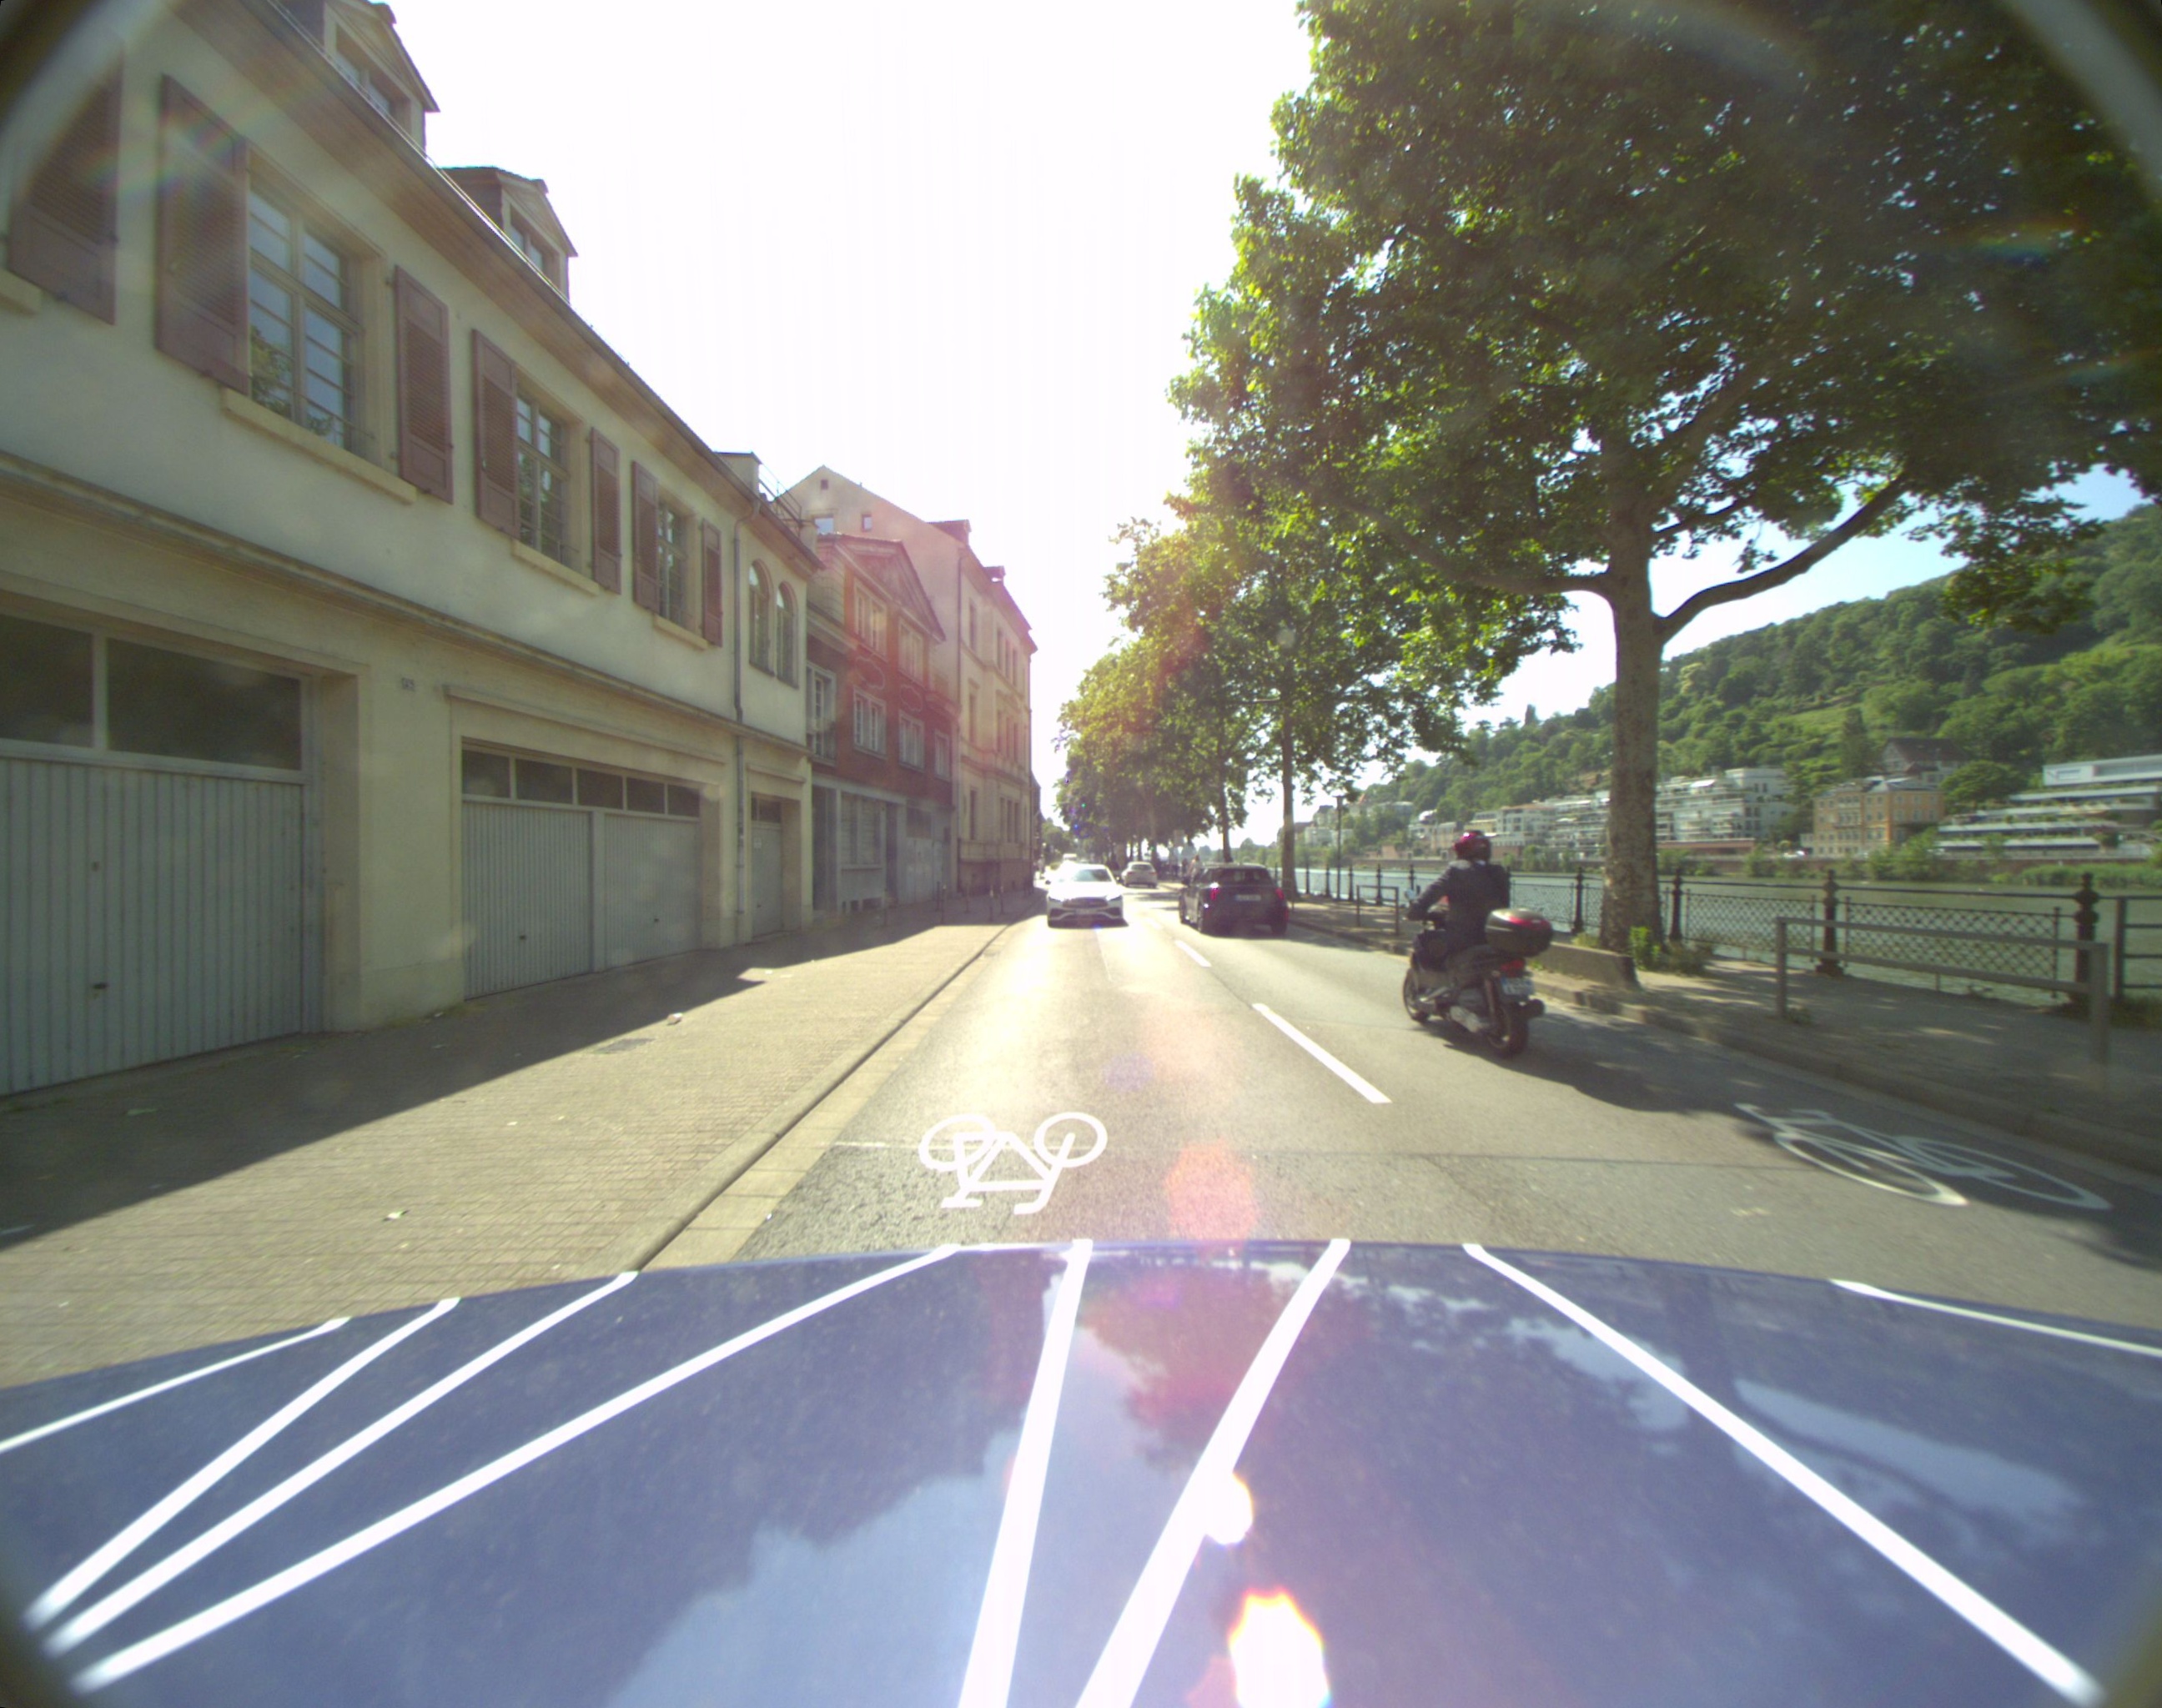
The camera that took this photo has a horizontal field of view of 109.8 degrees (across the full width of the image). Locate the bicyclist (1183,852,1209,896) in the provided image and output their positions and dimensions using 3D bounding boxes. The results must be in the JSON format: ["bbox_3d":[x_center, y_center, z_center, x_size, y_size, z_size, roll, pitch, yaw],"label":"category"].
[{"bbox_3d":[4.108,0.717,27.113,0.768,1.522,1.025,-1,-2,1],"label":"bicyclist"}]

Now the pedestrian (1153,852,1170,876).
[{"bbox_3d":[6.234,0.769,58.693,1.022,1.762,0.771,1,1,40],"label":"pedestrian"}]

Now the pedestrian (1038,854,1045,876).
[{"bbox_3d":[-3.047,0.864,59.052,0.528,1.702,0.665,1,1,-1],"label":"pedestrian"}]

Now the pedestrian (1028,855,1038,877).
[{"bbox_3d":[-3.653,0.939,57.957,0.717,1.666,0.682,1,1,-1],"label":"pedestrian"}]

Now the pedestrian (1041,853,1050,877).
[{"bbox_3d":[-2.799,0.854,59.780,0.618,1.841,0.730,1,1,0],"label":"pedestrian"}]

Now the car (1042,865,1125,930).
[{"bbox_3d":[0.049,1.022,19.740,1.875,1.415,4.744,-1,0,0],"label":"car"}]

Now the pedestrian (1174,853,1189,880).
[{"bbox_3d":[6.439,0.797,48.849,0.837,1.703,0.782,1,0,-1],"label":"pedestrian"}]

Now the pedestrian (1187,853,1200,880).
[{"bbox_3d":[7.248,0.780,49.000,0.654,1.703,0.793,2,0,-4],"label":"pedestrian"}]

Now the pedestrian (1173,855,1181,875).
[{"bbox_3d":[7.737,0.890,61.050,0.495,1.608,0.991,1,0,-1],"label":"pedestrian"}]

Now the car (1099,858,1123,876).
[{"bbox_3d":[2.631,1.107,67.228,1.740,1.509,4.403,0,0,-2],"label":"car"}]

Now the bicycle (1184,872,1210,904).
[{"bbox_3d":[4.103,1.187,27.080,0.742,1.070,1.954,0,-1,3],"label":"bicycle"}]

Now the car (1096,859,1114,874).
[{"bbox_3d":[2.530,1.307,80.989,1.705,1.509,4.404,3,0,1],"label":"car"}]

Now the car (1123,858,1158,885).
[{"bbox_3d":[3.367,1.004,43.793,1.705,1.436,4.092,0,-1,0],"label":"car"}]

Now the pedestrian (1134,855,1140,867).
[{"bbox_3d":[7.715,0.968,104.990,0.793,1.673,0.709,2,0,-1],"label":"pedestrian"}]

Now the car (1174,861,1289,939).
[{"bbox_3d":[3.187,0.919,16.880,1.705,1.449,4.002,1,0,0],"label":"car"}]

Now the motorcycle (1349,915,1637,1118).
[{"bbox_3d":[3.056,1.132,6.026,0.886,1.071,2.327,-1,1,-4],"label":"motorcycle"}]

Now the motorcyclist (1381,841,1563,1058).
[{"bbox_3d":[3.053,0.697,6.054,0.881,1.574,1.025,1,0,-2],"label":"motorcyclist"}]

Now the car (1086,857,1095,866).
[{"bbox_3d":[1.827,1.499,149.269,1.705,1.509,4.404,4,0,1],"label":"car"}]

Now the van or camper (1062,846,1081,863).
[{"bbox_3d":[-1.367,0.022,107.066,2.438,2.271,6.203,1,0,-1],"label":"van or camper"}]

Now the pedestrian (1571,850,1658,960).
[{"bbox_3d":[7.932,0.733,11.322,0.764,1.577,0.696,1,1,-1],"label":"pedestrian"}]

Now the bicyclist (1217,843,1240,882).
[{"bbox_3d":[6.051,0.355,31.202,0.721,1.574,1.089,1,0,1],"label":"bicyclist"}]

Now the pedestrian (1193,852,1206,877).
[{"bbox_3d":[8.371,0.763,53.770,0.713,1.754,0.972,1,0,-1],"label":"pedestrian"}]

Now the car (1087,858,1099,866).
[{"bbox_3d":[1.999,1.321,127.135,1.846,1.262,4.261,1,0,-2],"label":"car"}]
